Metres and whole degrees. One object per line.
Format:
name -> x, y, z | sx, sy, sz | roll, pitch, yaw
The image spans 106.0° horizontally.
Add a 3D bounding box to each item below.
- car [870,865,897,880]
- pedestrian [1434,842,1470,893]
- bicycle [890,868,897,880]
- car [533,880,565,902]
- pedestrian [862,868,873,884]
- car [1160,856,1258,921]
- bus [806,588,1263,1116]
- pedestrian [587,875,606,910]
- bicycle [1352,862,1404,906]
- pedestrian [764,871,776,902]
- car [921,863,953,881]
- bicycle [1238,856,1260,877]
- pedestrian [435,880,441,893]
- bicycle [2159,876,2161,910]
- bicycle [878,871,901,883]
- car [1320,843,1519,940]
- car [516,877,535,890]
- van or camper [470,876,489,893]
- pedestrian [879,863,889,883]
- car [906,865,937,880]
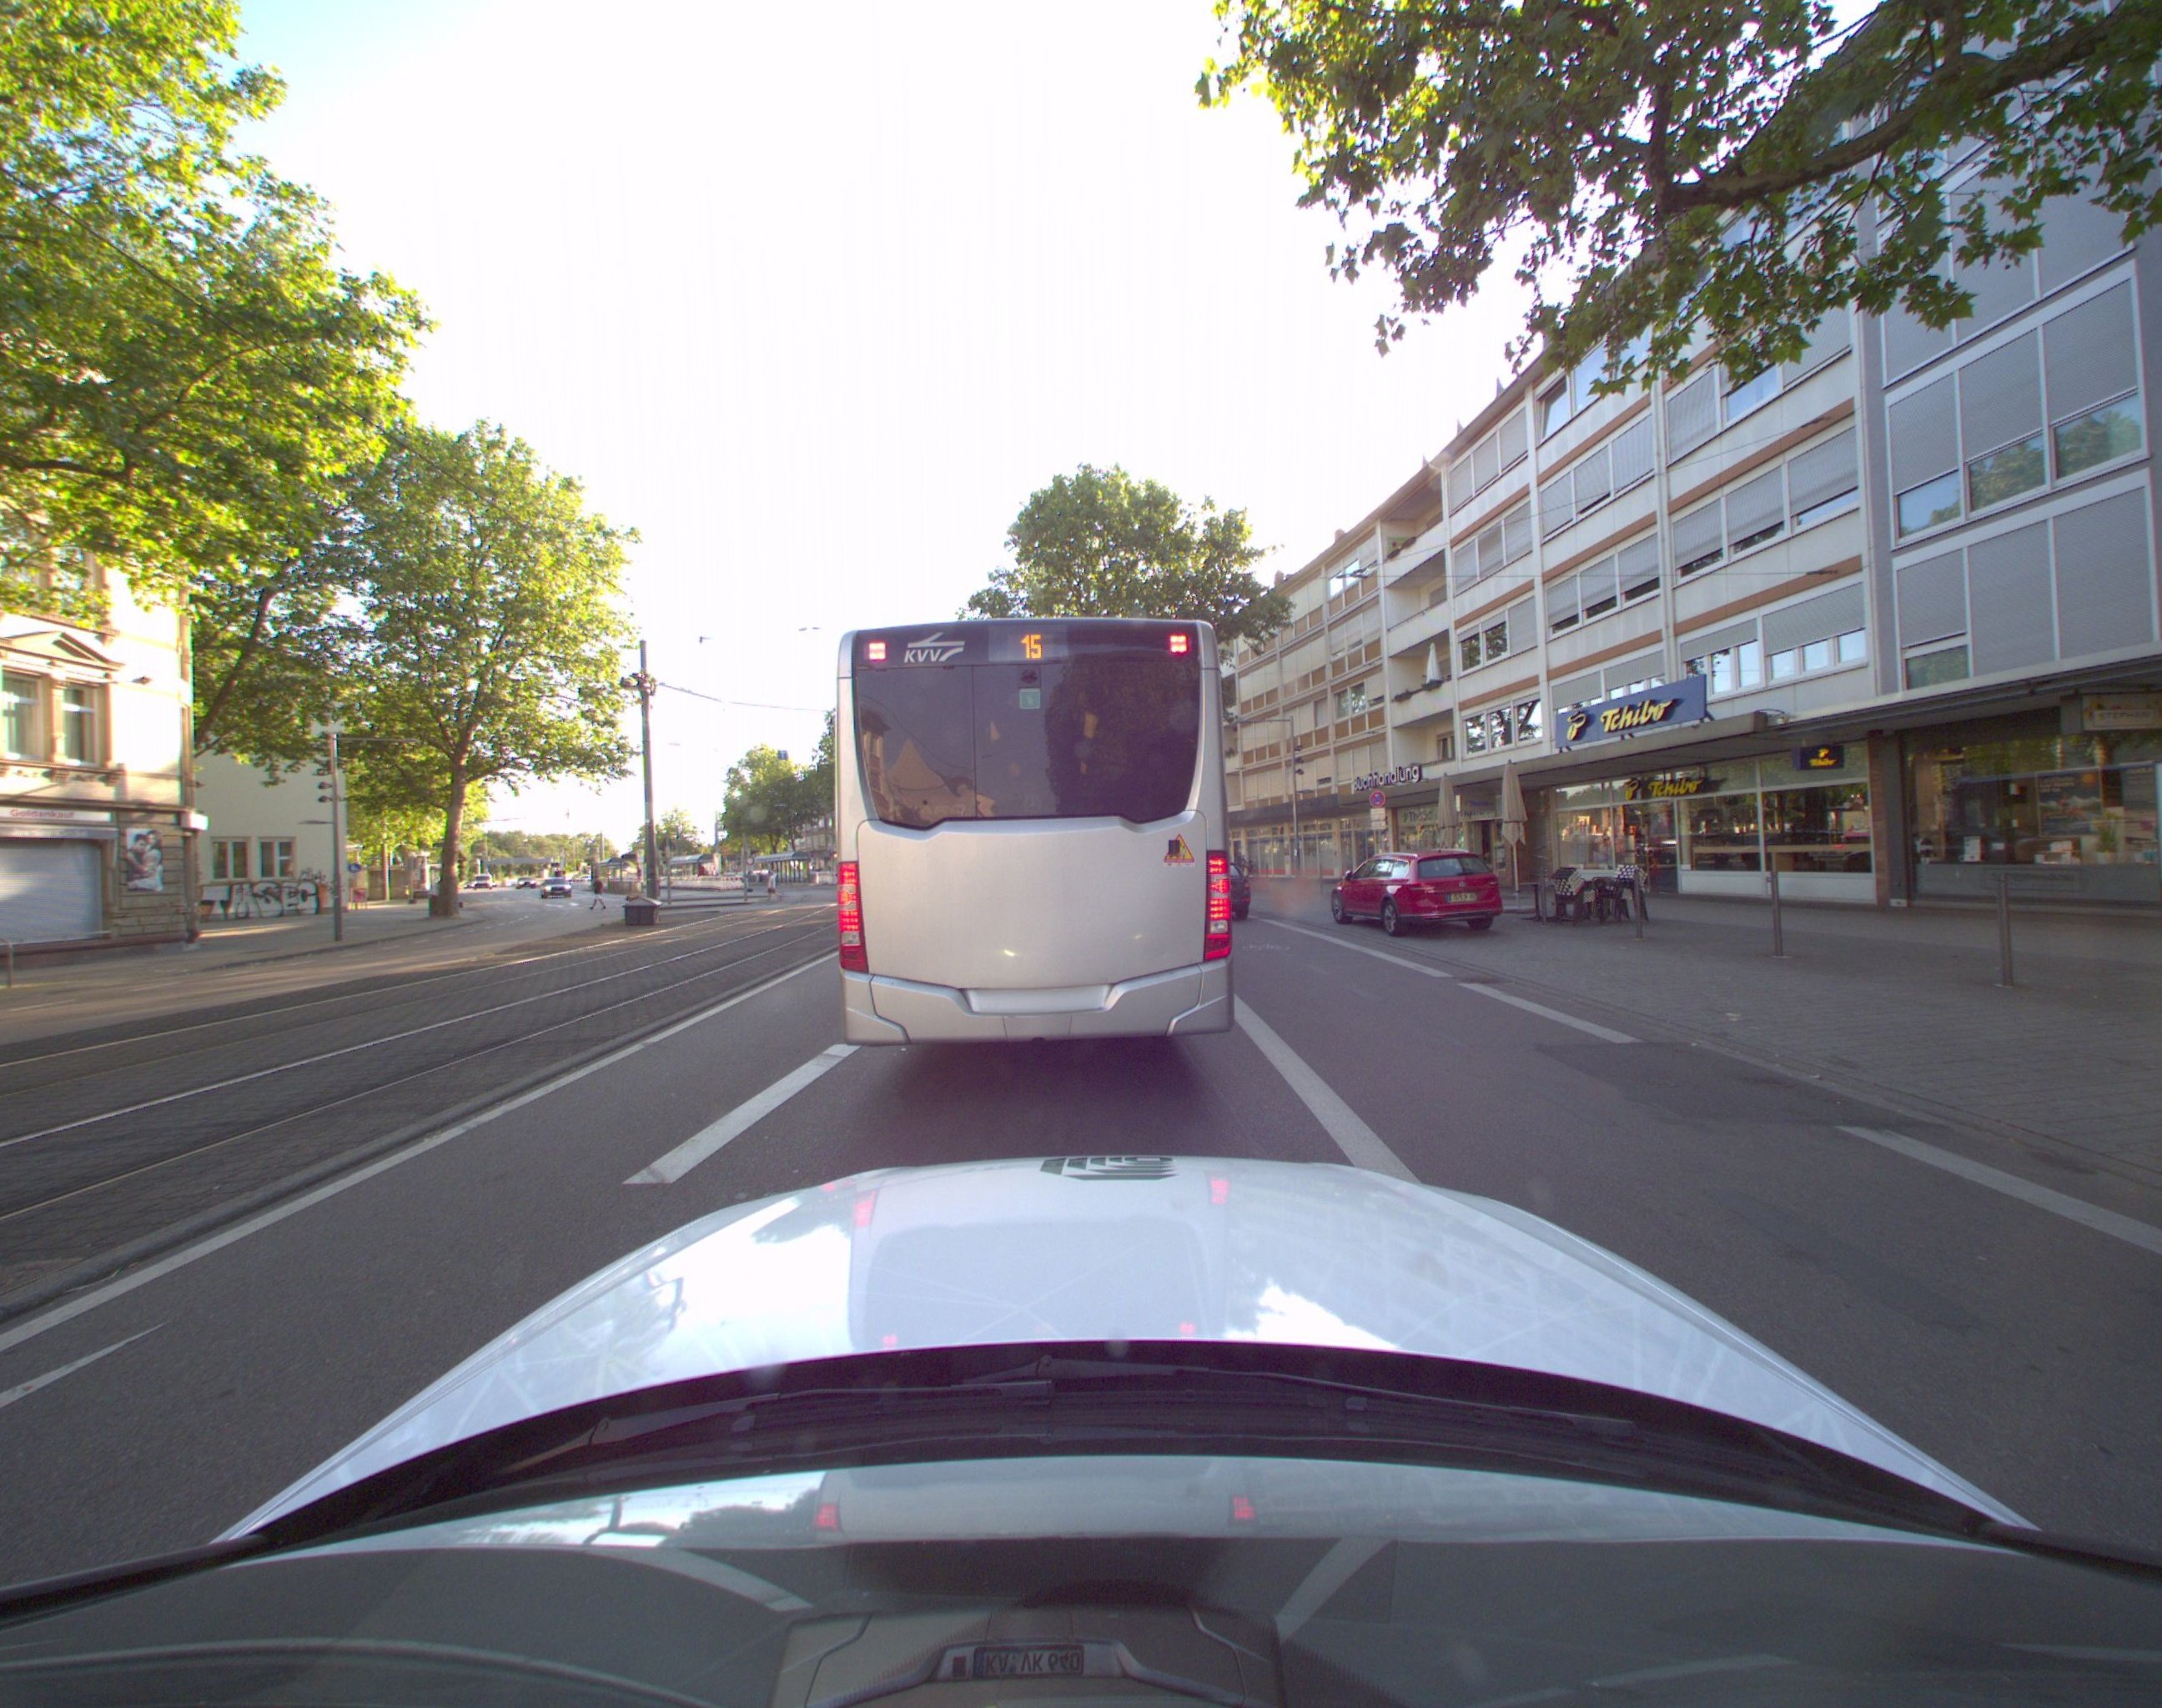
car -> -21.541, 2.052, 88.707 | 1.675, 1.468, 3.375 | -6, 2, -36
pedestrian -> 11.624, 0.408, 25.538 | 0.638, 1.552, 0.806 | -2, -1, -6
bicycle -> -19.709, 2.107, 85.561 | 0.508, 1.211, 2.079 | -2, 0, -19
car -> -40.475, 2.793, 61.873 | 1.900, 1.472, 4.161 | -2, -1, -35
pedestrian -> -17.424, 1.789, 66.371 | 0.779, 1.303, 0.590 | -2, -1, -19
car -> 3.198, 0.829, 21.086 | 1.798, 1.474, 4.069 | -1, -1, -1
bus -> -0.270, 0.033, 10.039 | 2.649, 3.099, 10.214 | -2, -1, 0
pedestrian -> -23.986, 1.885, 40.292 | 0.426, 1.710, 0.681 | -1, -1, 33
bicycle -> 7.842, 0.774, 21.559 | 0.511, 1.070, 1.657 | -4, 0, -7
pedestrian -> -15.659, 1.631, 41.061 | 0.522, 1.504, 0.589 | -2, -1, -21
car -> -13.800, 1.729, 78.142 | 1.675, 1.516, 3.376 | -6, 2, -35
bicycle -> 9.360, 0.688, 45.363 | 0.438, 1.092, 1.453 | -5, 0, -18
pedestrian -> -76.145, 3.873, 96.423 | 0.519, 1.504, 0.552 | -2, -1, -36
bicycle -> 8.714, 0.669, 5.500 | 0.294, 1.040, 1.711 | -5, 0, -12
bicycle -> -16.448, 1.973, 69.814 | 1.829, 0.942, 0.465 | -2, -1, 9
car -> 6.355, 0.637, 15.945 | 1.774, 1.496, 4.563 | -4, 0, -2
car -> -73.220, 3.866, 107.388 | 1.901, 1.585, 4.160 | -2, -1, -37
van or camper -> -86.605, 4.419, 117.252 | 2.184, 2.319, 5.046 | -2, -1, -37
pedestrian -> -16.769, 1.606, 69.335 | 0.715, 1.725, 0.400 | -2, -1, 9
car -> -16.004, 1.859, 81.512 | 1.675, 1.394, 3.374 | -6, 2, -37
